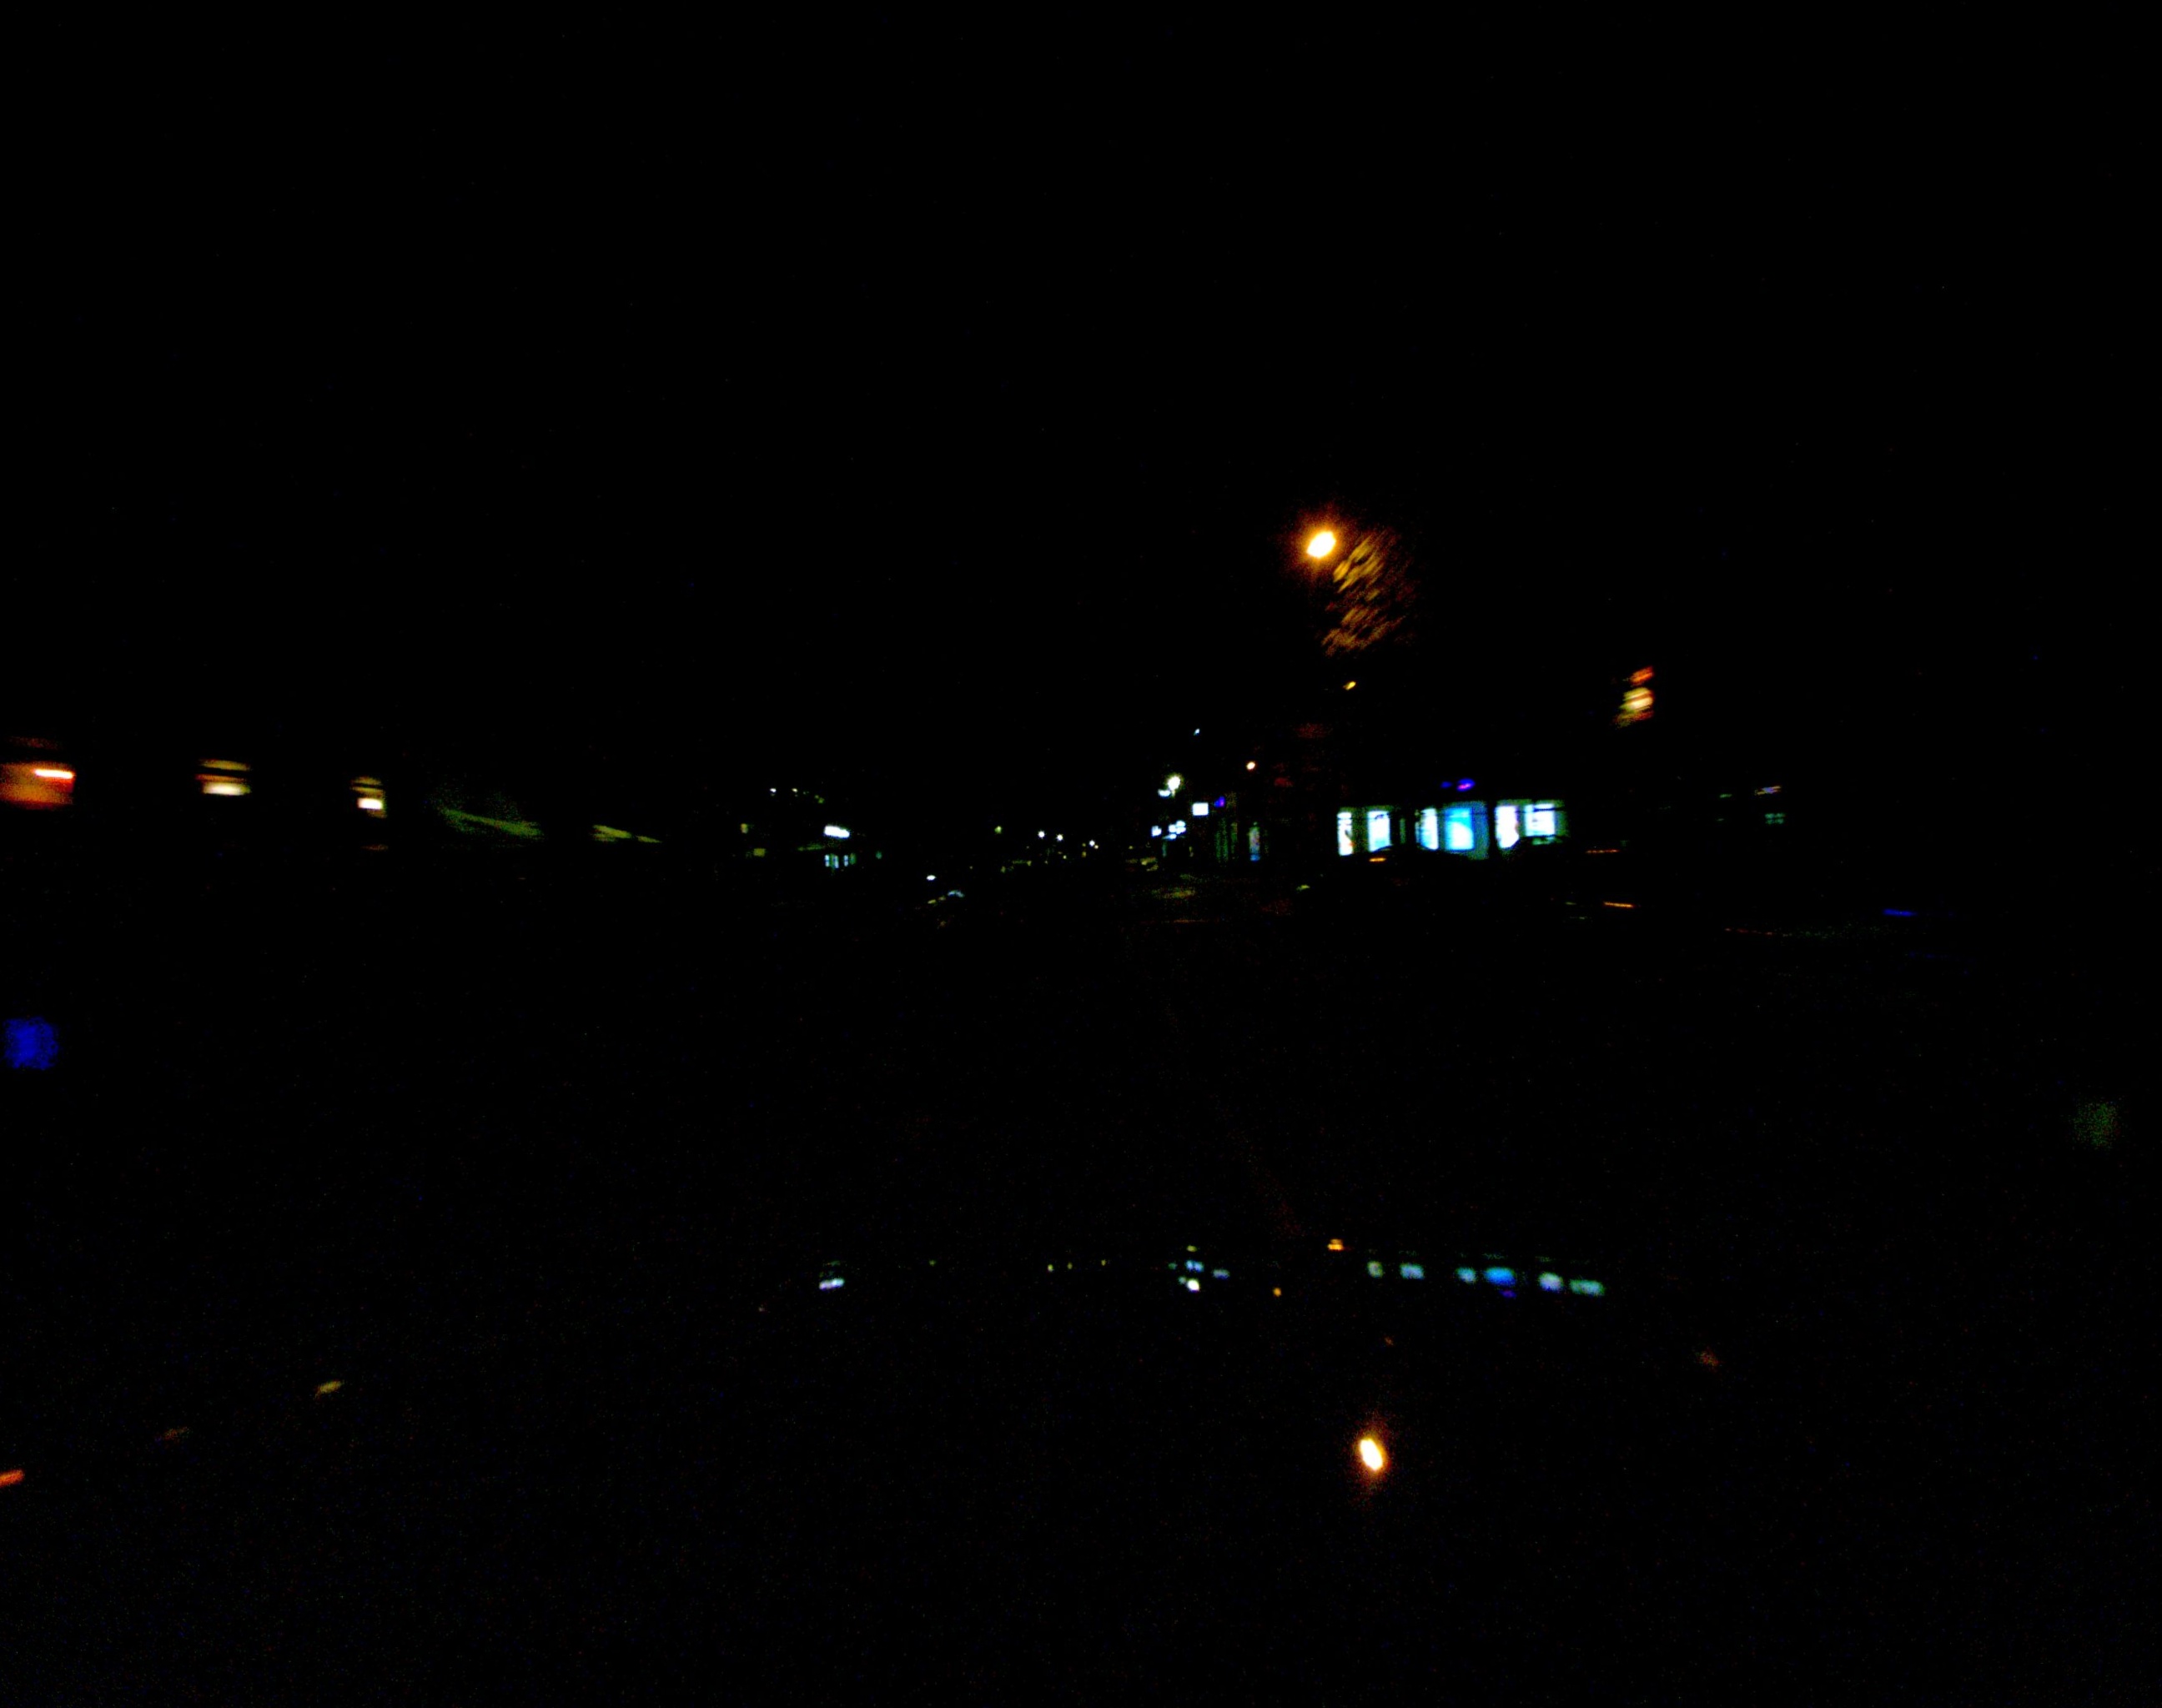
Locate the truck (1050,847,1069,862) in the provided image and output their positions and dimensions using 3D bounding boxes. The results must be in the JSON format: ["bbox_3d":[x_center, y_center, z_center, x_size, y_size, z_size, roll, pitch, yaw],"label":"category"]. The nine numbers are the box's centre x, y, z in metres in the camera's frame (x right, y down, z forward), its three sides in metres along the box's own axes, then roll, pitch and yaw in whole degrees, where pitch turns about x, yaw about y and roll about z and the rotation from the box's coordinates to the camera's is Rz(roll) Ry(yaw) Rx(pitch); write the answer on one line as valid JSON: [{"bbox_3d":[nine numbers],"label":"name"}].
[{"bbox_3d":[-3.378,0.063,120.352,2.109,2.230,6.289,-2,0,5],"label":"truck"}]

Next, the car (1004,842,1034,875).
[{"bbox_3d":[-4.755,0.318,58.566,2.140,2.313,5.149,-2,0,-4],"label":"car"}]

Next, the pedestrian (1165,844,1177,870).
[{"bbox_3d":[6.326,0.198,53.495,0.720,1.795,0.716,-2,1,1],"label":"pedestrian"}]

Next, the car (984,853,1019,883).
[{"bbox_3d":[-4.776,0.811,46.117,1.688,1.649,4.296,-2,0,-2],"label":"car"}]

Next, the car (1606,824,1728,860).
[{"bbox_3d":[25.598,-0.513,33.267,3.908,1.387,1.803,-3,1,0],"label":"car"}]

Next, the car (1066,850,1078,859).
[{"bbox_3d":[-1.622,0.013,134.874,1.737,1.493,4.001,-2,0,5],"label":"car"}]

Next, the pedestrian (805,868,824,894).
[{"bbox_3d":[-13.292,1.336,37.916,0.682,1.256,0.530,-2,1,28],"label":"pedestrian"}]

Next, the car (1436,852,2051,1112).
[{"bbox_3d":[4.856,0.754,6.486,1.726,1.420,3.976,-4,0,0],"label":"car"}]

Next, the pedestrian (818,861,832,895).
[{"bbox_3d":[-11.878,1.114,35.246,0.480,1.578,0.372,-2,1,36],"label":"pedestrian"}]

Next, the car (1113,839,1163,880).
[{"bbox_3d":[3.126,0.293,42.921,1.858,2.075,5.088,-4,1,-5],"label":"car"}]

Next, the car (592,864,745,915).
[{"bbox_3d":[-14.514,1.233,26.902,4.327,1.523,1.802,-2,2,-1],"label":"car"}]

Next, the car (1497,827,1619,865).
[{"bbox_3d":[20.785,-0.329,33.222,4.146,1.428,1.803,-3,1,0],"label":"car"}]

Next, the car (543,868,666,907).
[{"bbox_3d":[-20.575,1.439,32.924,4.153,1.540,1.803,-1,-1,-1],"label":"car"}]

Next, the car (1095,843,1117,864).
[{"bbox_3d":[2.550,-0.068,78.173,1.930,1.954,5.076,-4,0,-1],"label":"car"}]

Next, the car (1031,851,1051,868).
[{"bbox_3d":[-4.457,0.580,85.008,1.912,1.792,4.936,-2,0,-1],"label":"car"}]

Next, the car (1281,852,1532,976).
[{"bbox_3d":[4.739,0.753,12.014,1.811,1.416,4.921,-4,0,0],"label":"car"}]

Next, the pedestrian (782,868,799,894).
[{"bbox_3d":[-14.140,1.314,36.969,0.501,1.256,0.530,-2,1,28],"label":"pedestrian"}]

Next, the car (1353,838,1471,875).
[{"bbox_3d":[14.350,0.104,33.121,4.339,1.389,1.803,-3,1,0],"label":"car"}]

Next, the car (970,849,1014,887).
[{"bbox_3d":[-4.612,0.697,40.054,1.793,1.811,4.579,-2,0,-1],"label":"car"}]

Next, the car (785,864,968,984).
[{"bbox_3d":[-3.069,0.978,12.361,1.774,1.528,4.216,0,0,1],"label":"car"}]
